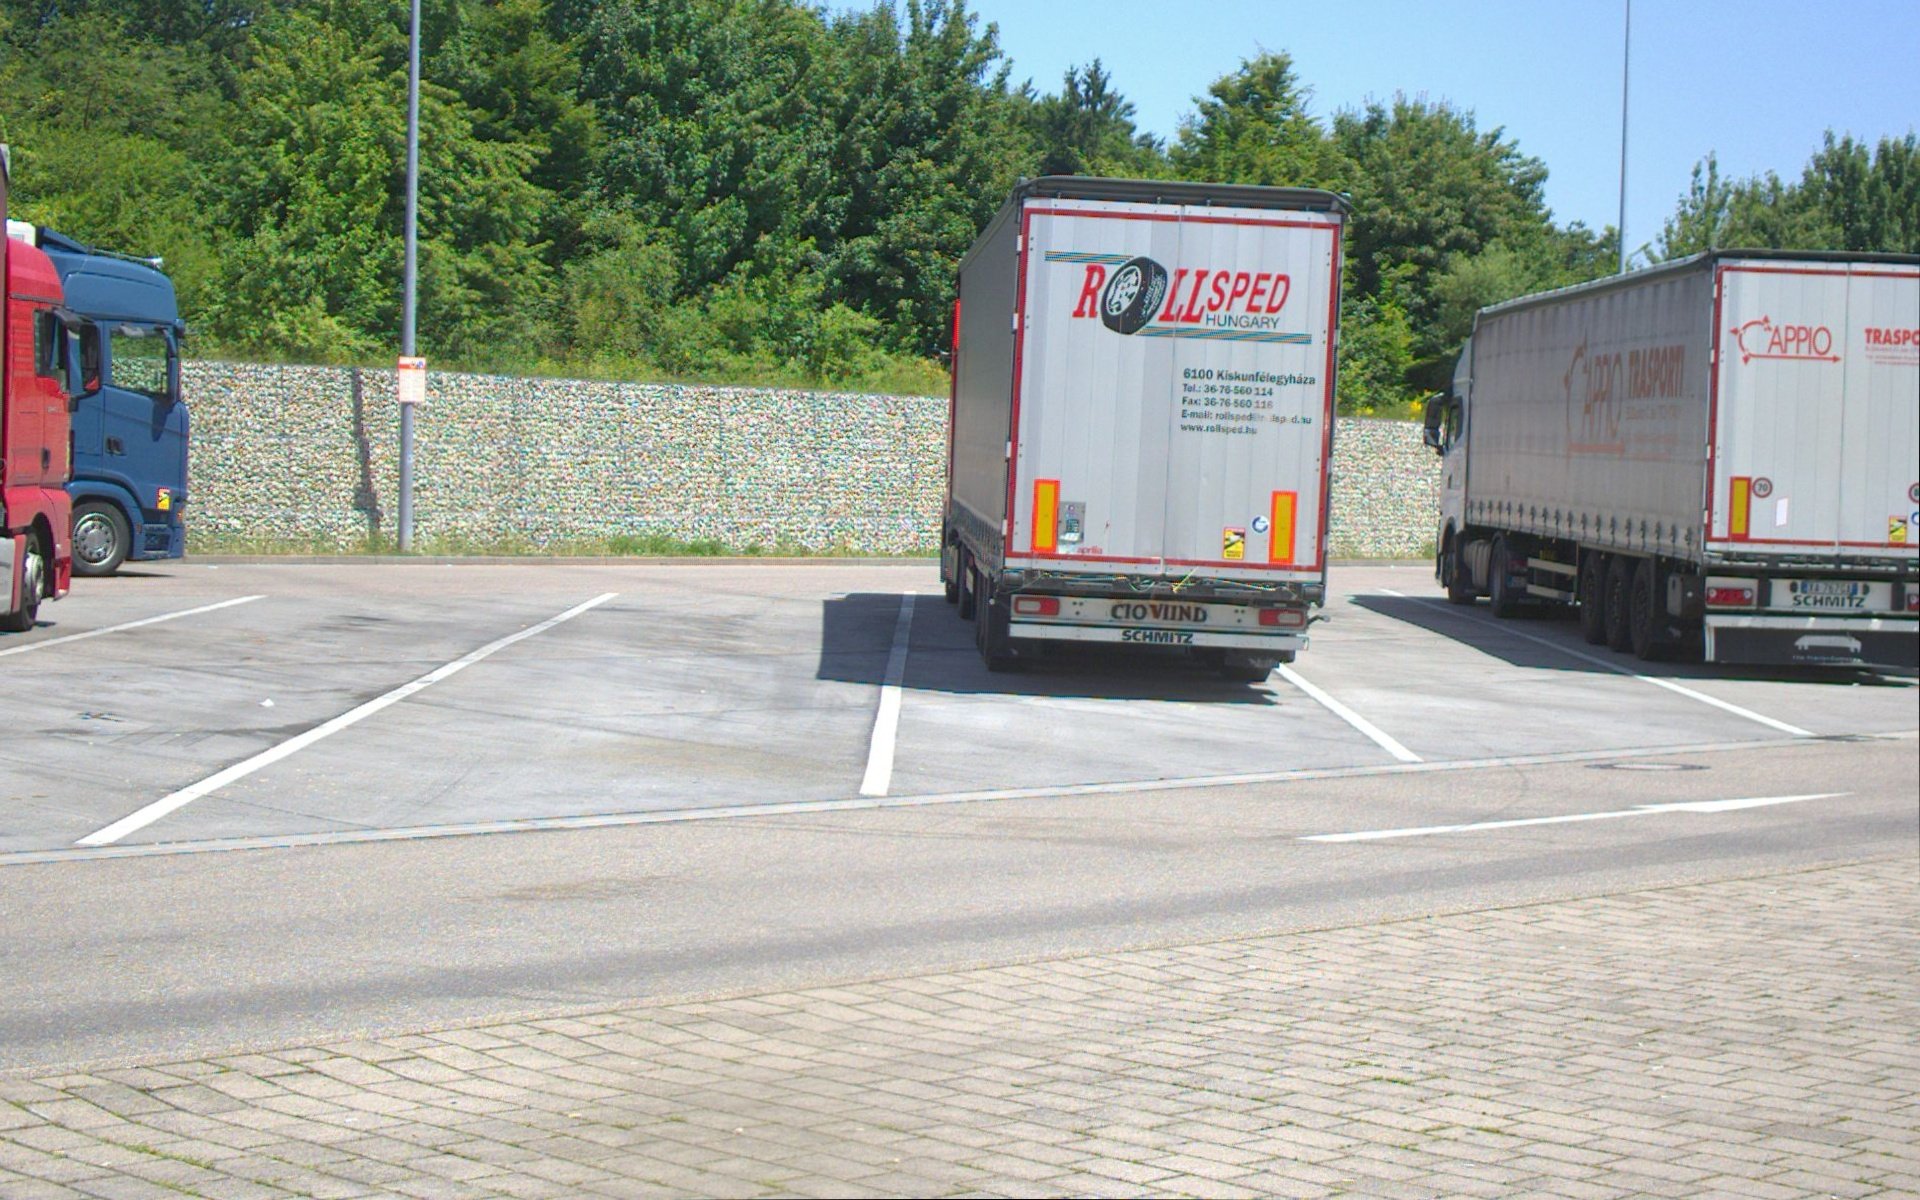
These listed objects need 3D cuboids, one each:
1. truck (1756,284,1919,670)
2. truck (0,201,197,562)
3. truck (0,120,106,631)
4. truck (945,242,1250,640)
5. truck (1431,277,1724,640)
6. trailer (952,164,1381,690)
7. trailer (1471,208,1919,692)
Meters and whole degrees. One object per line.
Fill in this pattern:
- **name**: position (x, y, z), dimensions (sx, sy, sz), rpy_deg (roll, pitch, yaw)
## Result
- **truck**: position (11.745, -1.343, 38.714), dimensions (2.587, 4.211, 11.971), rpy_deg (1, 1, -1)
- **truck**: position (-13.298, -2.517, 37.657), dimensions (2.240, 4.019, 10.028), rpy_deg (2, 1, 44)
- **truck**: position (-9.161, -1.843, 28.361), dimensions (2.805, 4.119, 5.894), rpy_deg (1, 2, -1)
- **truck**: position (1.373, -1.697, 37.689), dimensions (2.871, 3.966, 6.030), rpy_deg (1, 2, -2)
- **truck**: position (7.996, -1.832, 45.193), dimensions (2.661, 4.437, 5.864), rpy_deg (1, 2, -1)
- **trailer**: position (1.569, -1.506, 32.030), dimensions (2.897, 4.000, 11.319), rpy_deg (1, 2, -2)
- **trailer**: position (8.127, -1.584, 38.179), dimensions (2.681, 4.437, 12.831), rpy_deg (1, 2, -1)
